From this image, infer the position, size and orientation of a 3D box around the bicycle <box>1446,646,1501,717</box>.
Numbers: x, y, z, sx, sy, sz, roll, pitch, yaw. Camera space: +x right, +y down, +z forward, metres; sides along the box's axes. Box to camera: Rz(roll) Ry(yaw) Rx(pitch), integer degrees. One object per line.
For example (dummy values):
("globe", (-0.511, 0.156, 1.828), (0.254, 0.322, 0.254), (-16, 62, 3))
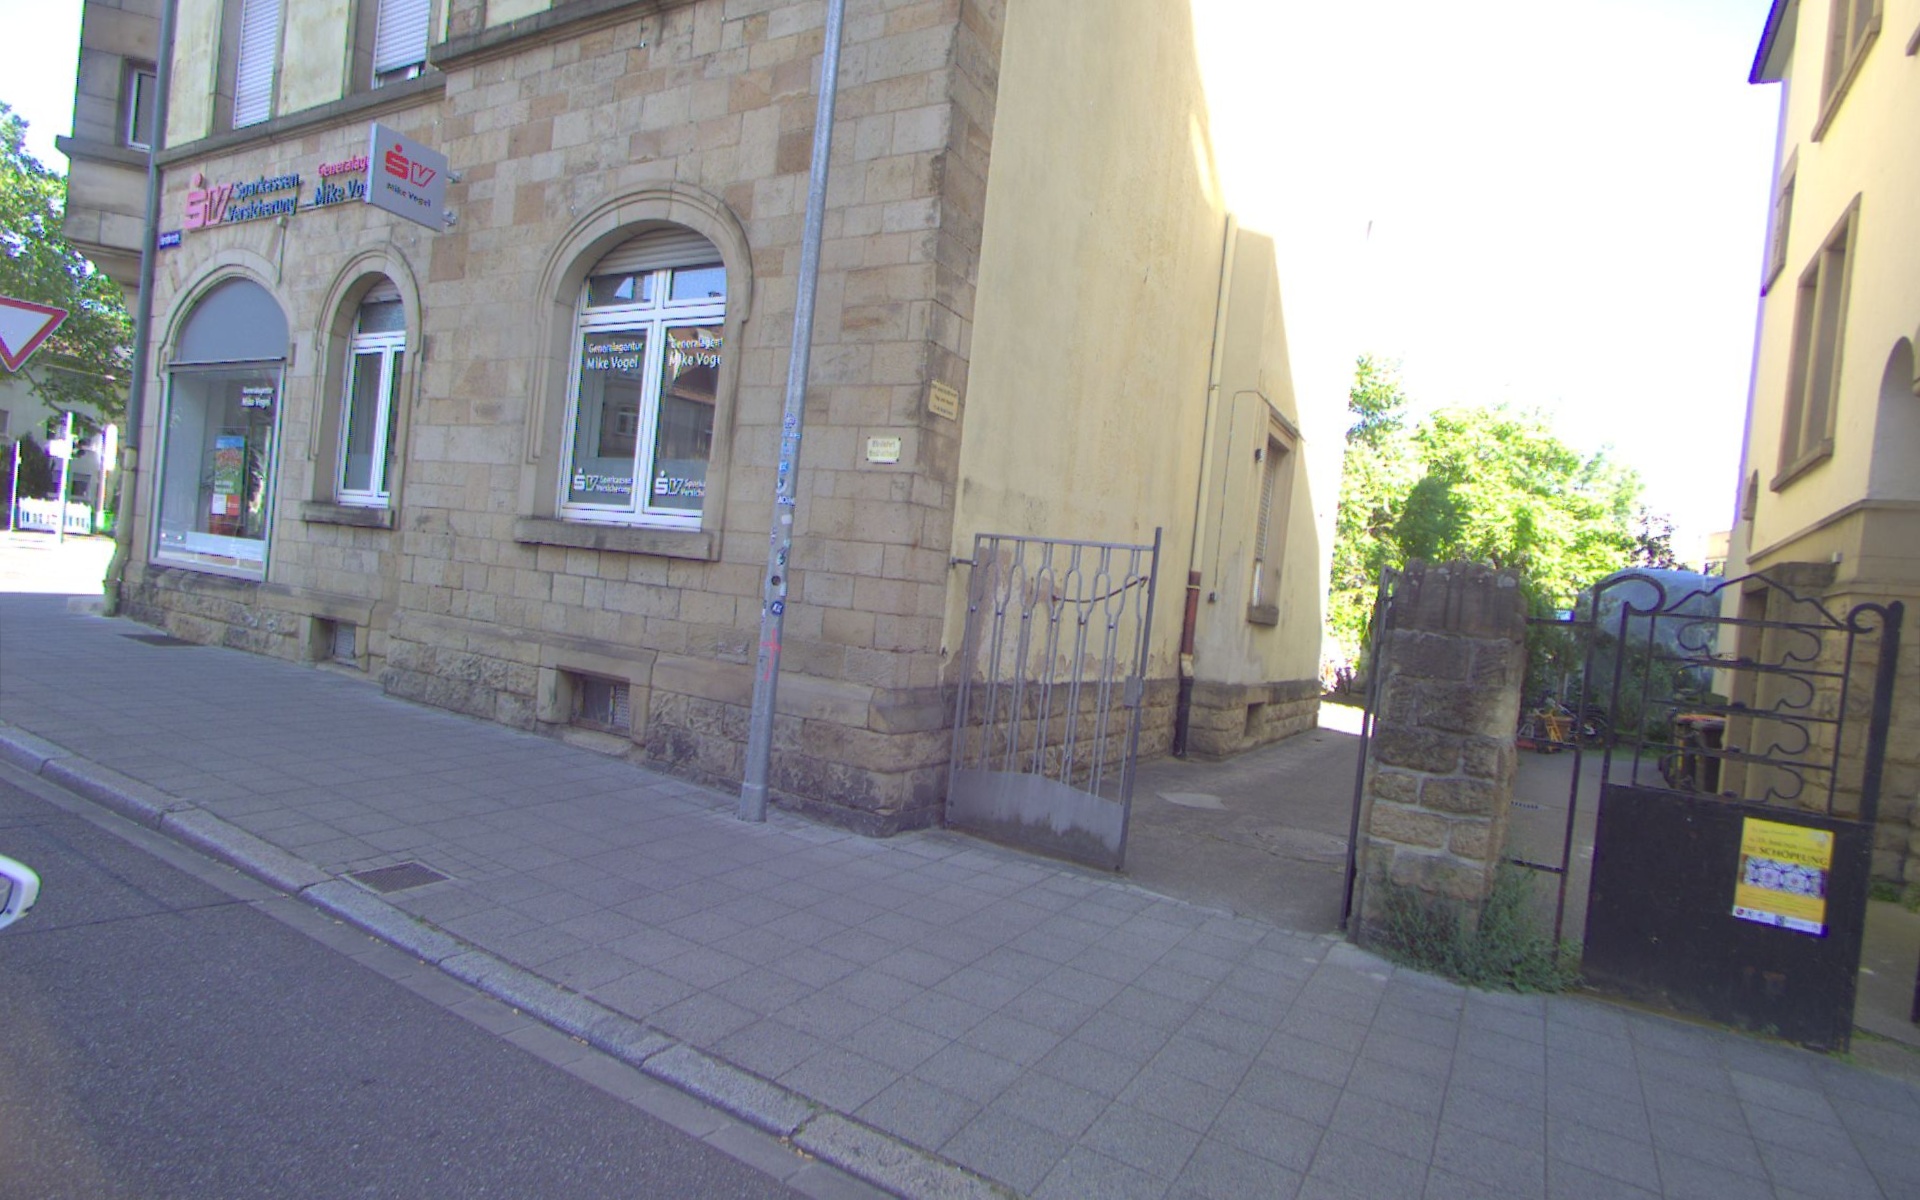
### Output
("bicycle", (12.598, 1.940, 24.641), (0.904, 1.532, 2.667), (6, 2, 31))

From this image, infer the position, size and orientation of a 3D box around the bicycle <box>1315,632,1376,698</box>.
("bicycle", (9.979, 1.645, 25.971), (0.904, 1.532, 2.667), (6, 2, 31))

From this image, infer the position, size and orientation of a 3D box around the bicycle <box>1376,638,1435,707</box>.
("bicycle", (11.213, 1.780, 25.255), (0.904, 1.532, 2.667), (6, 2, 31))
